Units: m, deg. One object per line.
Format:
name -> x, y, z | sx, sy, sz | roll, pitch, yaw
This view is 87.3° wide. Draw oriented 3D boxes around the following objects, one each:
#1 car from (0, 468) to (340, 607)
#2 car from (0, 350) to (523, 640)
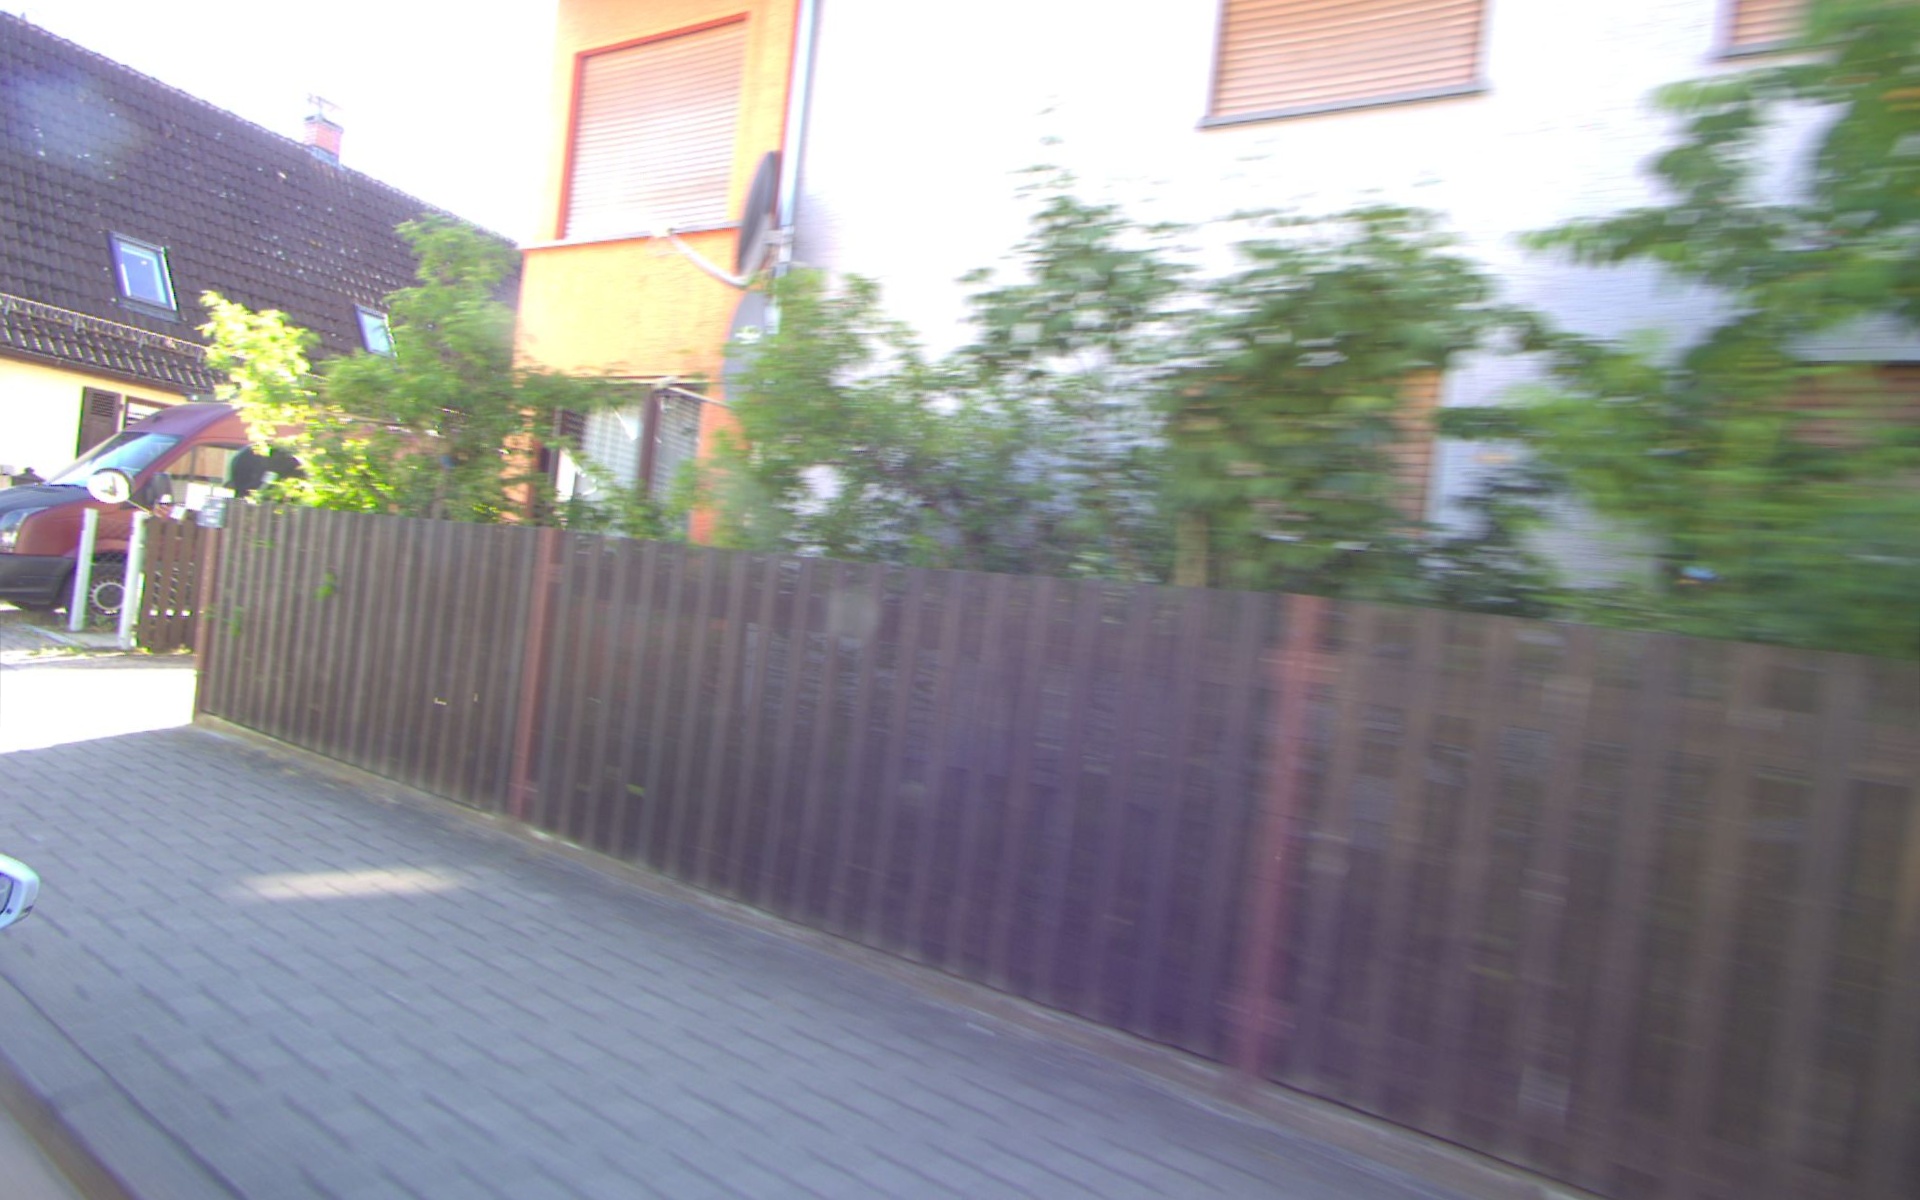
car -> -11.294, -0.810, 13.775 | 1.809, 1.506, 4.378 | 6, 1, 30
car -> -8.617, -0.965, 12.433 | 1.934, 2.689, 5.811 | 6, 1, 28
